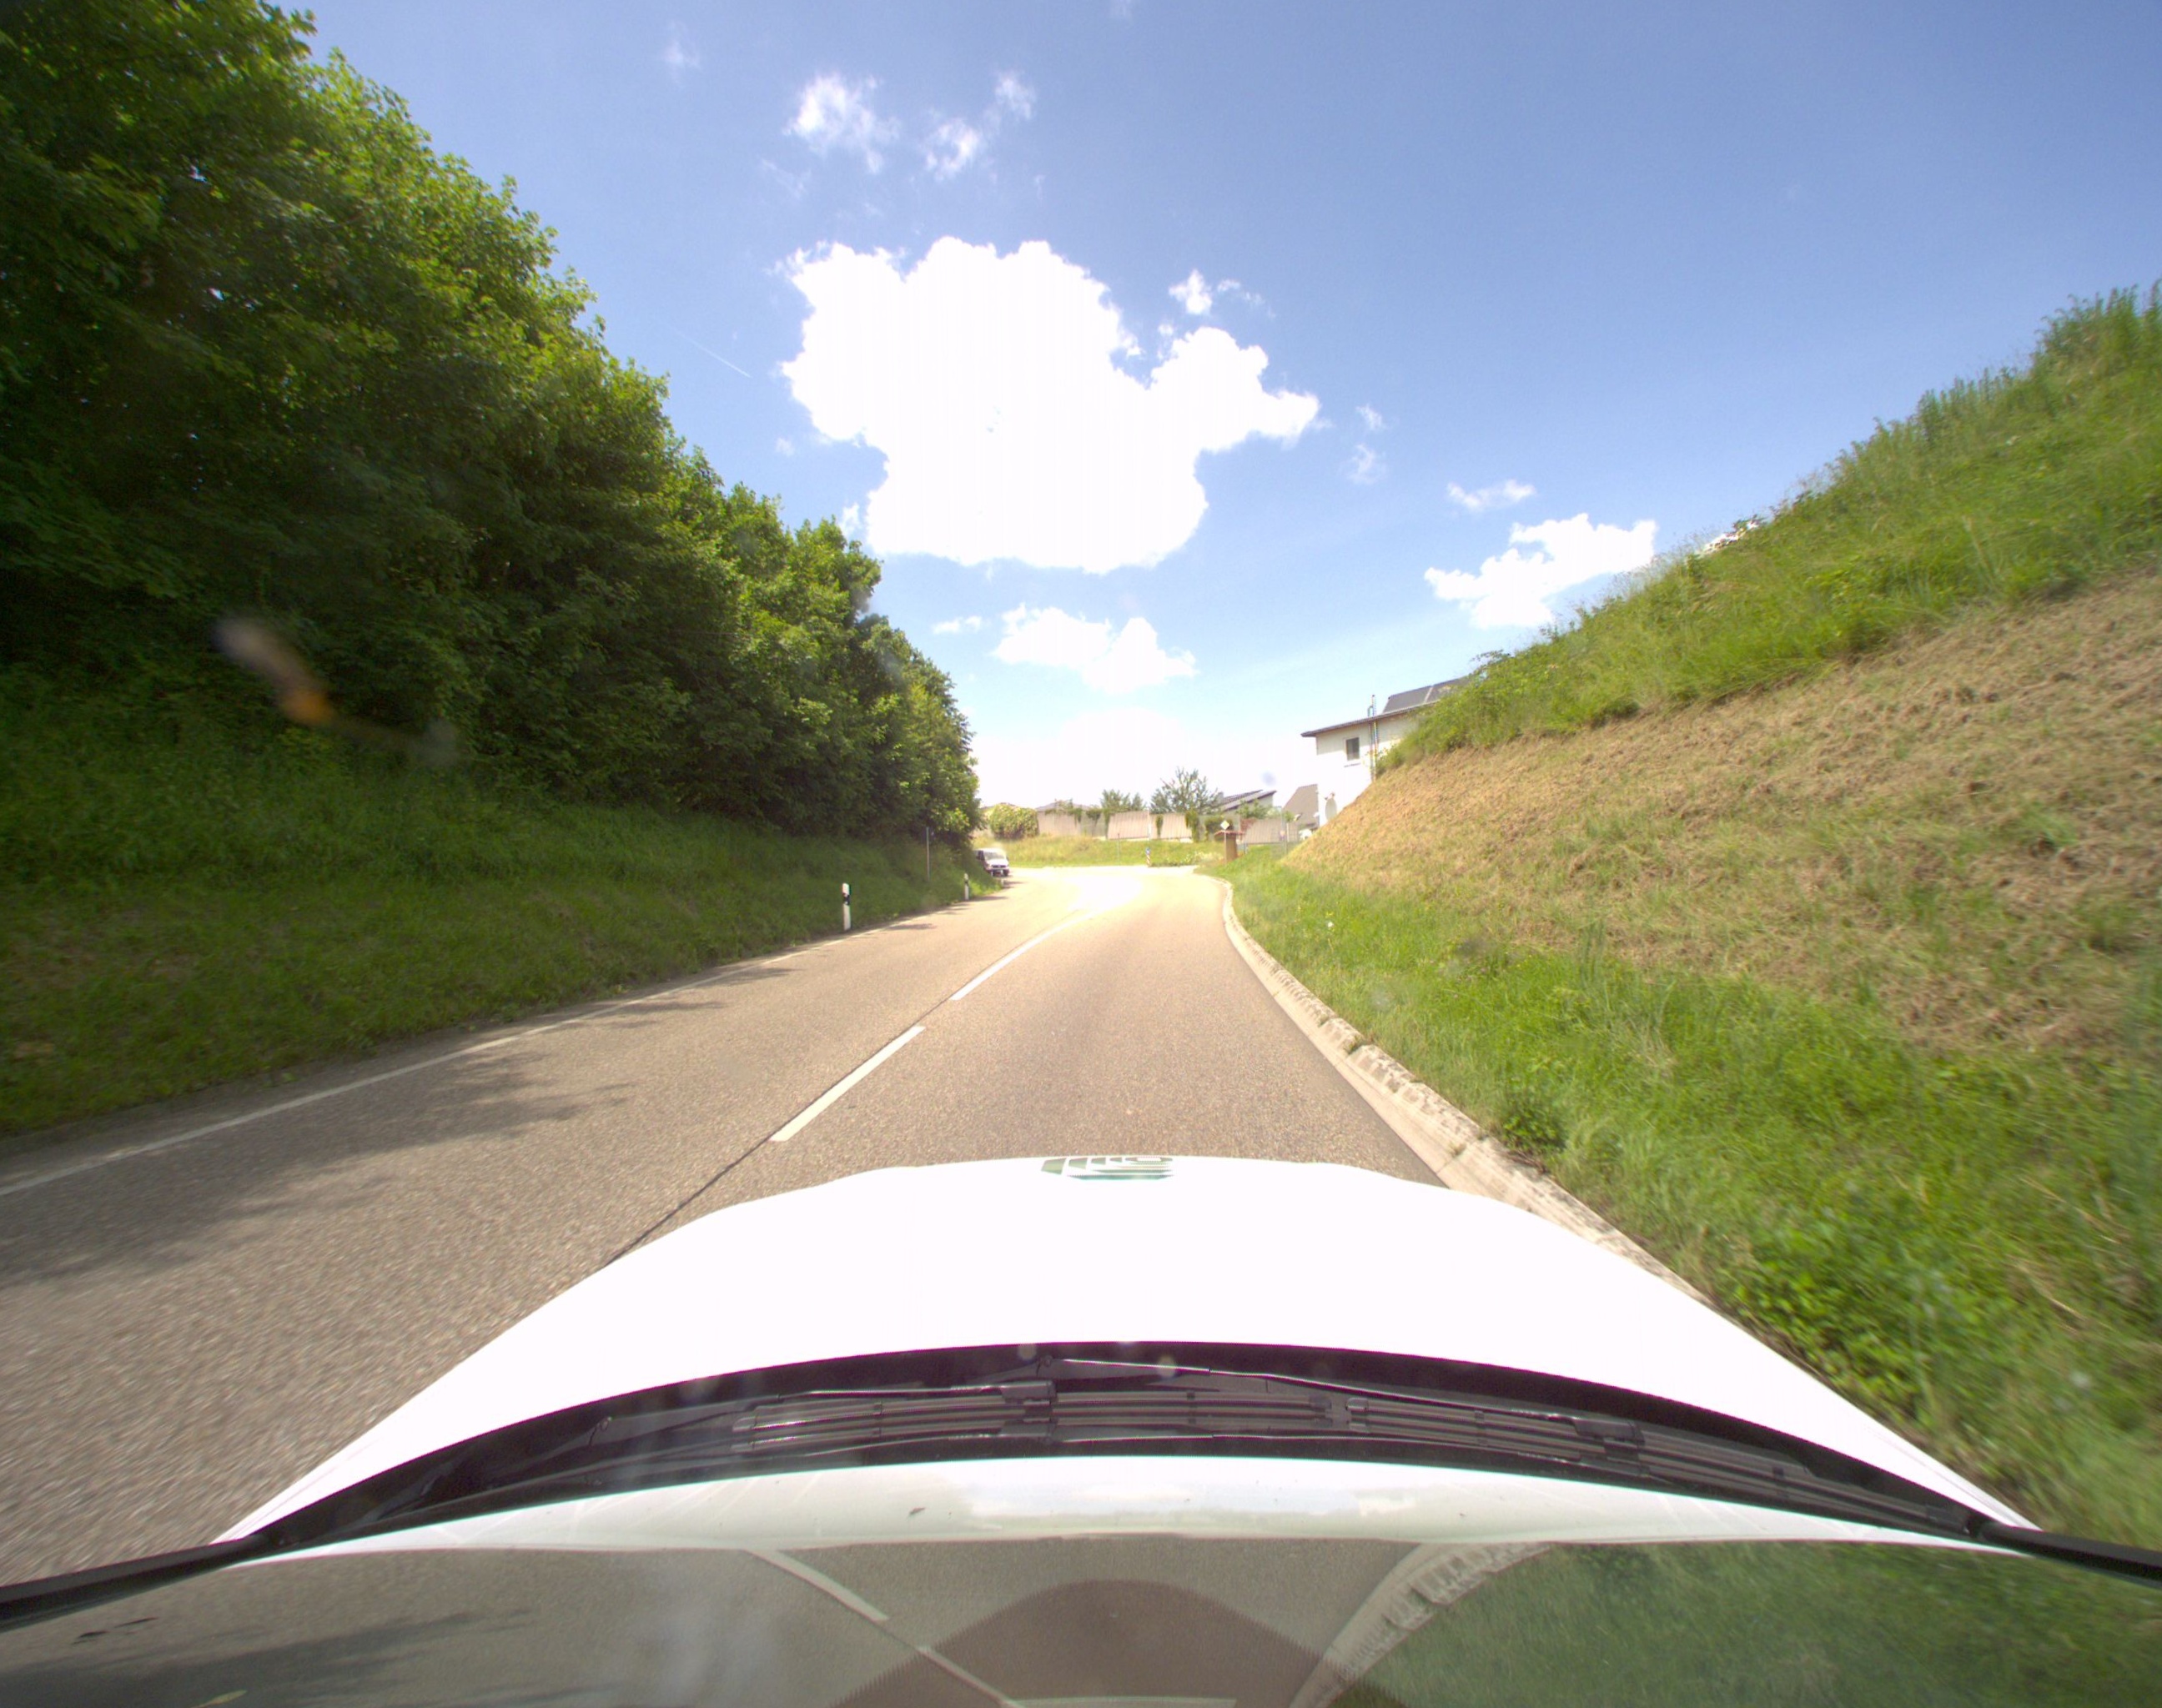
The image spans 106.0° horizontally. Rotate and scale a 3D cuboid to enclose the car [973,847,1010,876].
[{"bbox_3d":[-7.762,0.667,69.967,2.090,2.290,5.913,-2,-1,-16],"label":"car"}]
